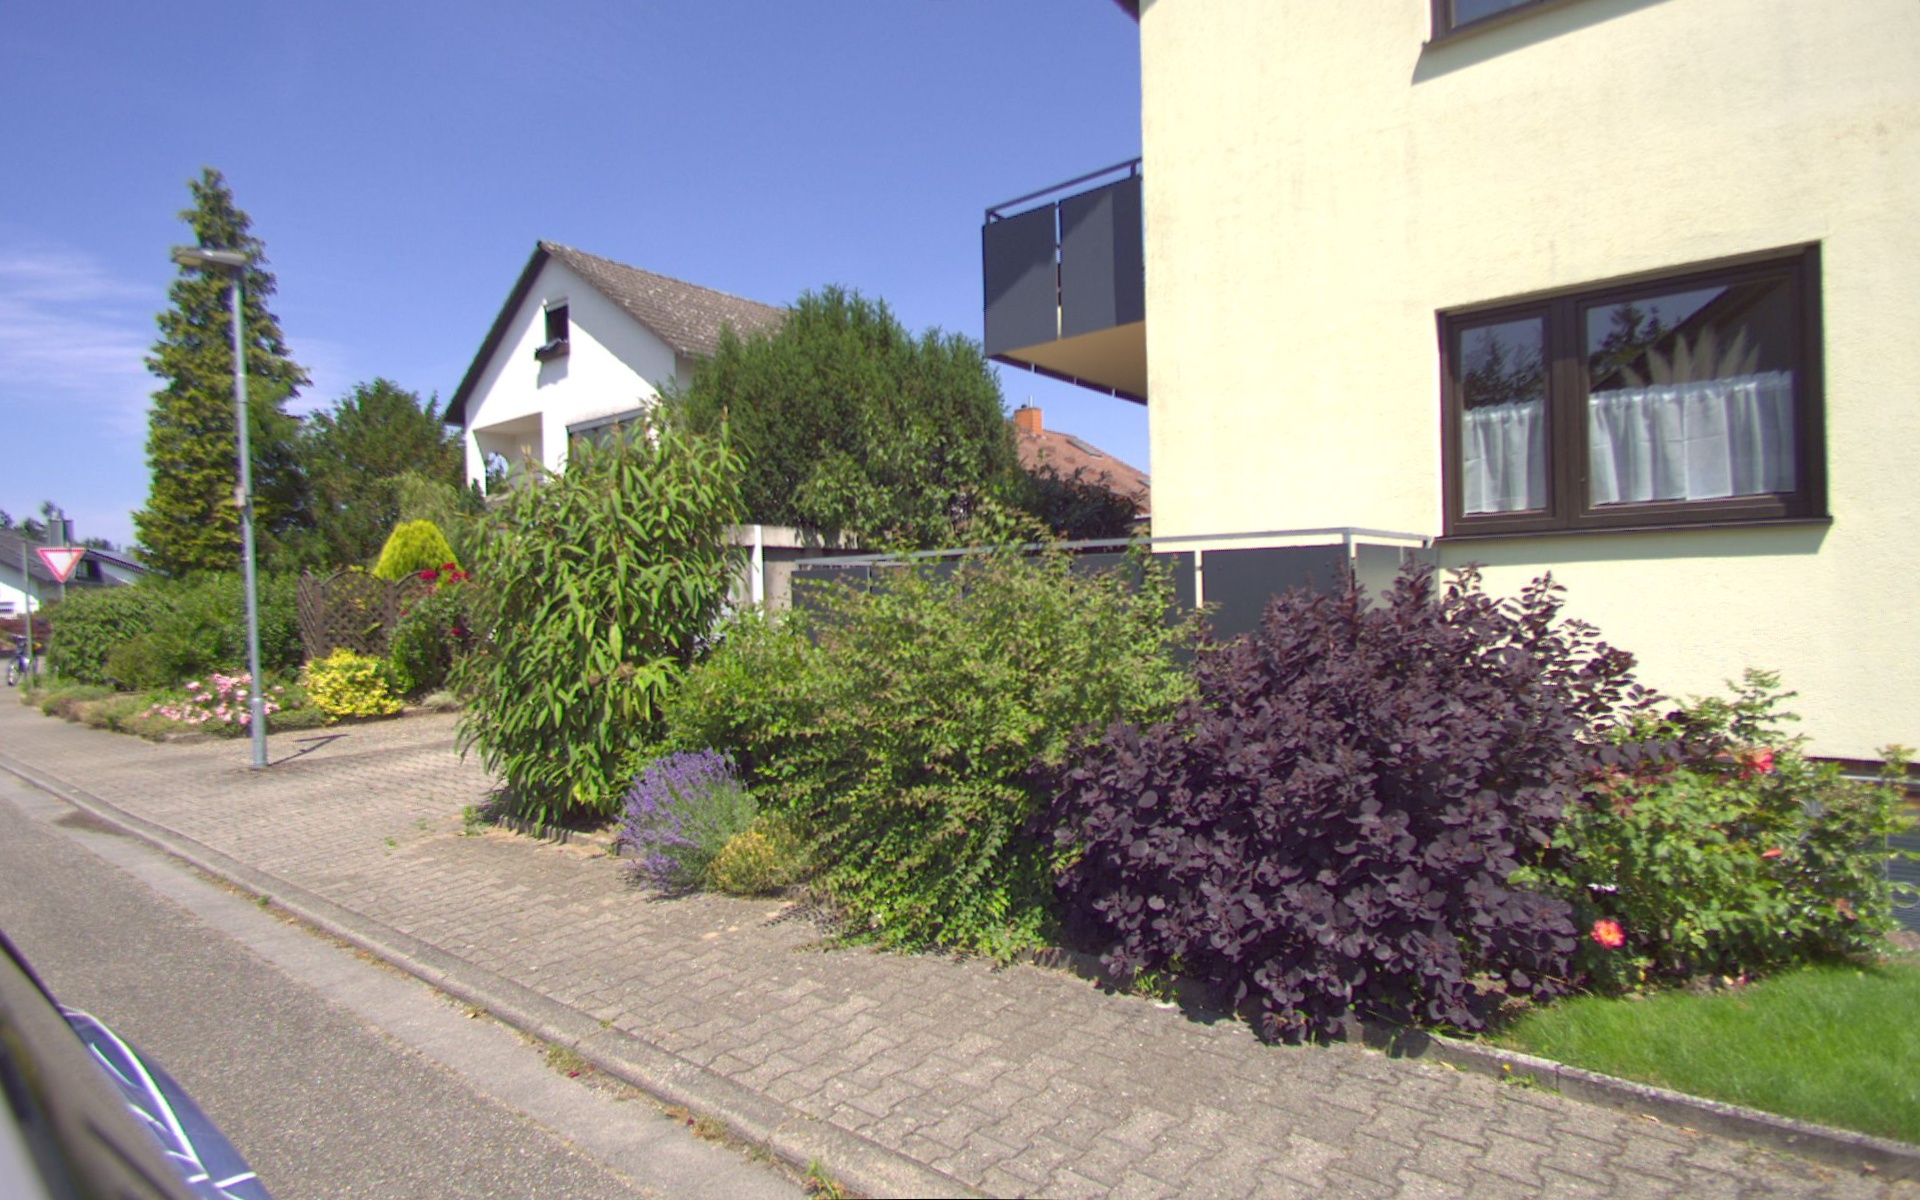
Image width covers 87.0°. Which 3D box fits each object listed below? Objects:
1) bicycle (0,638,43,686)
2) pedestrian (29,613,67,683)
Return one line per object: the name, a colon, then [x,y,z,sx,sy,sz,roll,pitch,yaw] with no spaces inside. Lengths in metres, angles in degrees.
bicycle: [-20.637,1.343,22.157,0.436,0.971,1.854,-2,0,-30]
pedestrian: [-20.213,1.053,22.429,0.496,1.512,0.614,-1,-1,-31]
